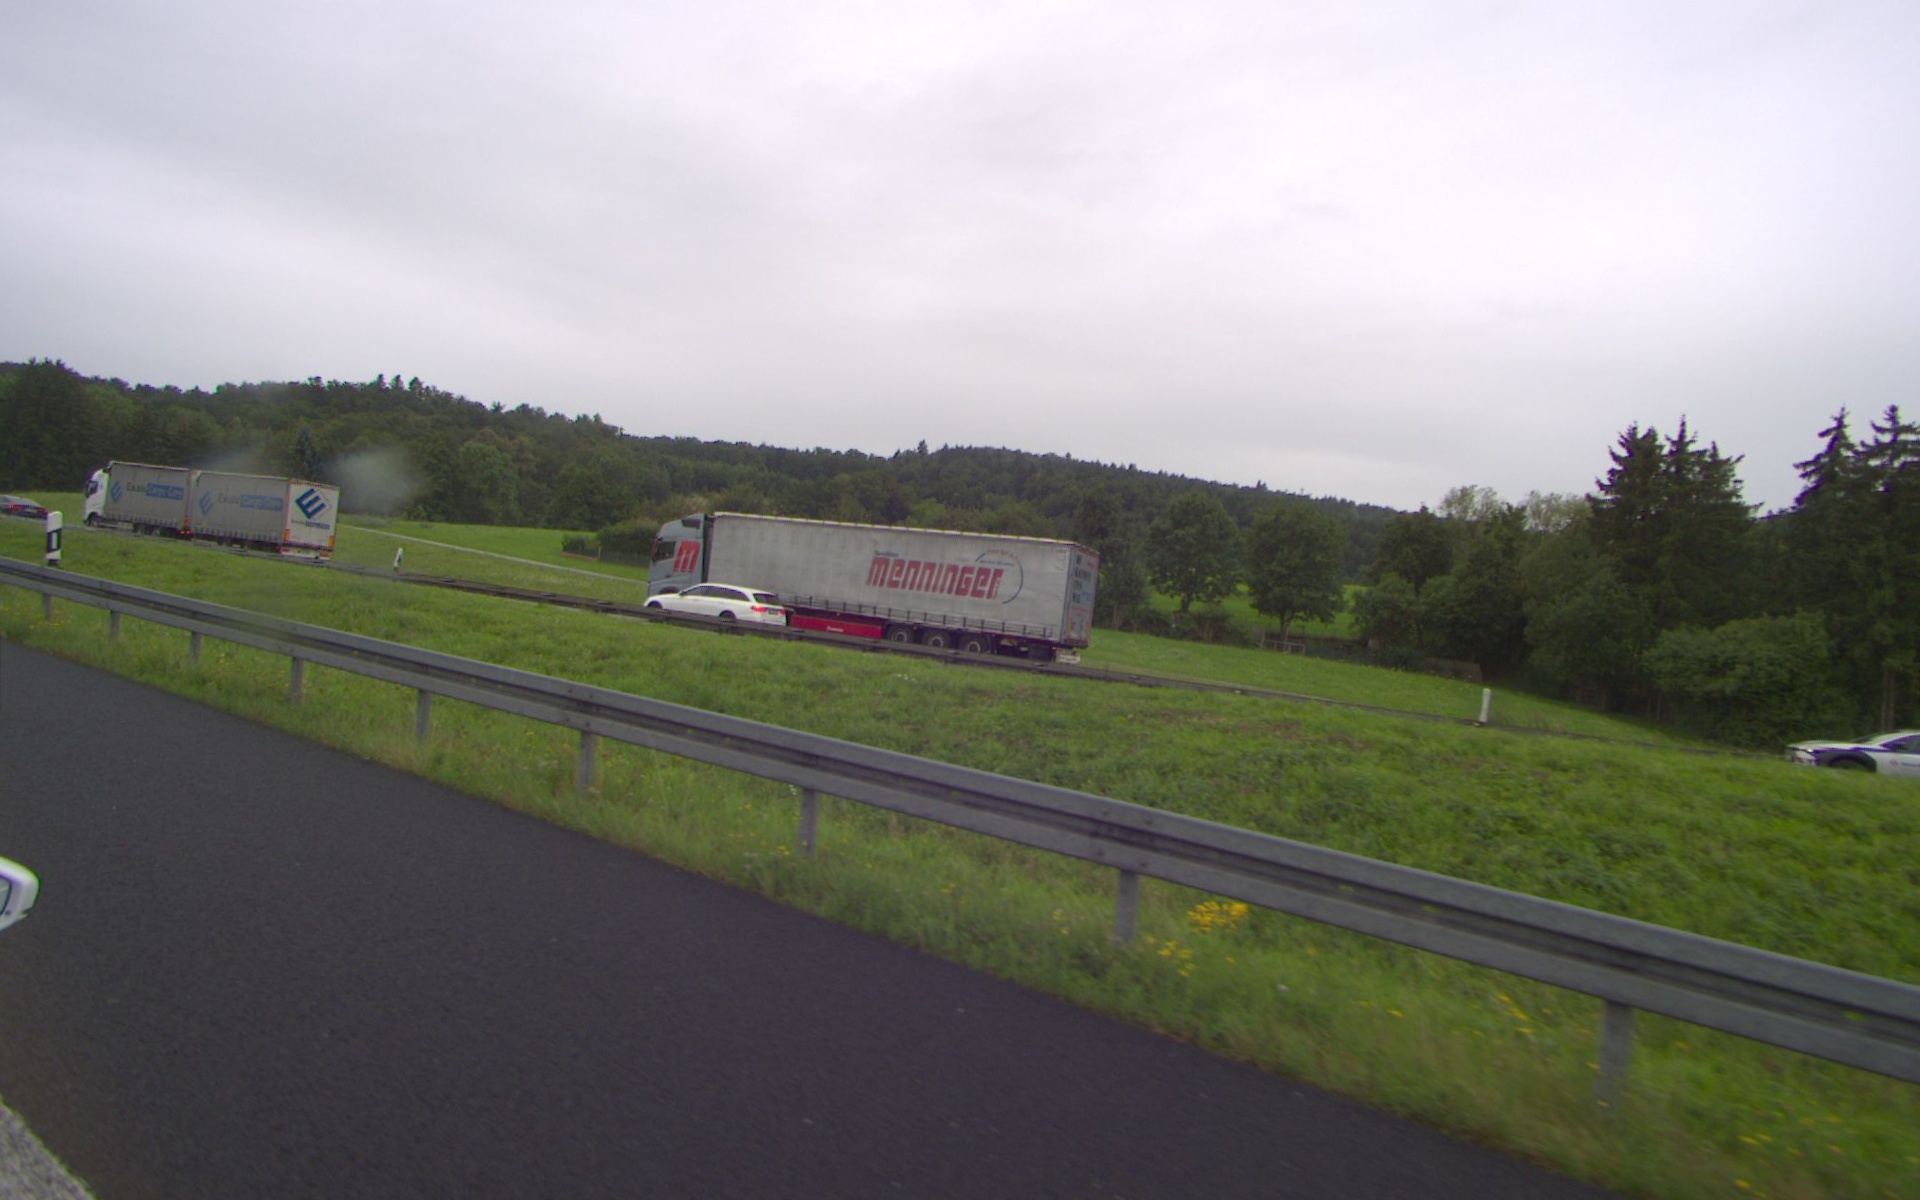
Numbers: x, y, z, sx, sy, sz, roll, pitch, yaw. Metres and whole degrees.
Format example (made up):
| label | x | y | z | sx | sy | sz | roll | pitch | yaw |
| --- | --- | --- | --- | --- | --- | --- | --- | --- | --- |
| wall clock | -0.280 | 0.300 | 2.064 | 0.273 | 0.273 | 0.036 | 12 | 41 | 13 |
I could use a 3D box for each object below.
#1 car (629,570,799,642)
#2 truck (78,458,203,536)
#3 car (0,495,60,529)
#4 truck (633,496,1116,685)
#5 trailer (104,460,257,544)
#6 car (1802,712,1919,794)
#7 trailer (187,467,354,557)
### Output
| label | x | y | z | sx | sy | sz | roll | pitch | yaw |
| --- | --- | --- | --- | --- | --- | --- | --- | --- | --- |
| car | -7.855 | 0.181 | 32.108 | 4.988 | 1.636 | 1.999 | 7 | -1 | 25 |
| truck | -46.142 | -5.798 | 56.657 | 5.822 | 3.567 | 2.947 | 7 | -2 | 26 |
| car | -49.931 | -4.749 | 52.913 | 5.224 | 1.393 | 1.992 | 7 | -1 | 26 |
| truck | -3.388 | -0.494 | 34.722 | 16.583 | 4.595 | 3.831 | 6 | -1 | 25 |
| trailer | -42.665 | -5.388 | 55.025 | 8.270 | 3.567 | 2.948 | 7 | -2 | 26 |
| car | 22.441 | 3.692 | 22.628 | 4.945 | 1.522 | 1.823 | 7 | -1 | 29 |
| trailer | -35.357 | -4.529 | 51.564 | 7.939 | 3.567 | 3.089 | 7 | -2 | 25 |
